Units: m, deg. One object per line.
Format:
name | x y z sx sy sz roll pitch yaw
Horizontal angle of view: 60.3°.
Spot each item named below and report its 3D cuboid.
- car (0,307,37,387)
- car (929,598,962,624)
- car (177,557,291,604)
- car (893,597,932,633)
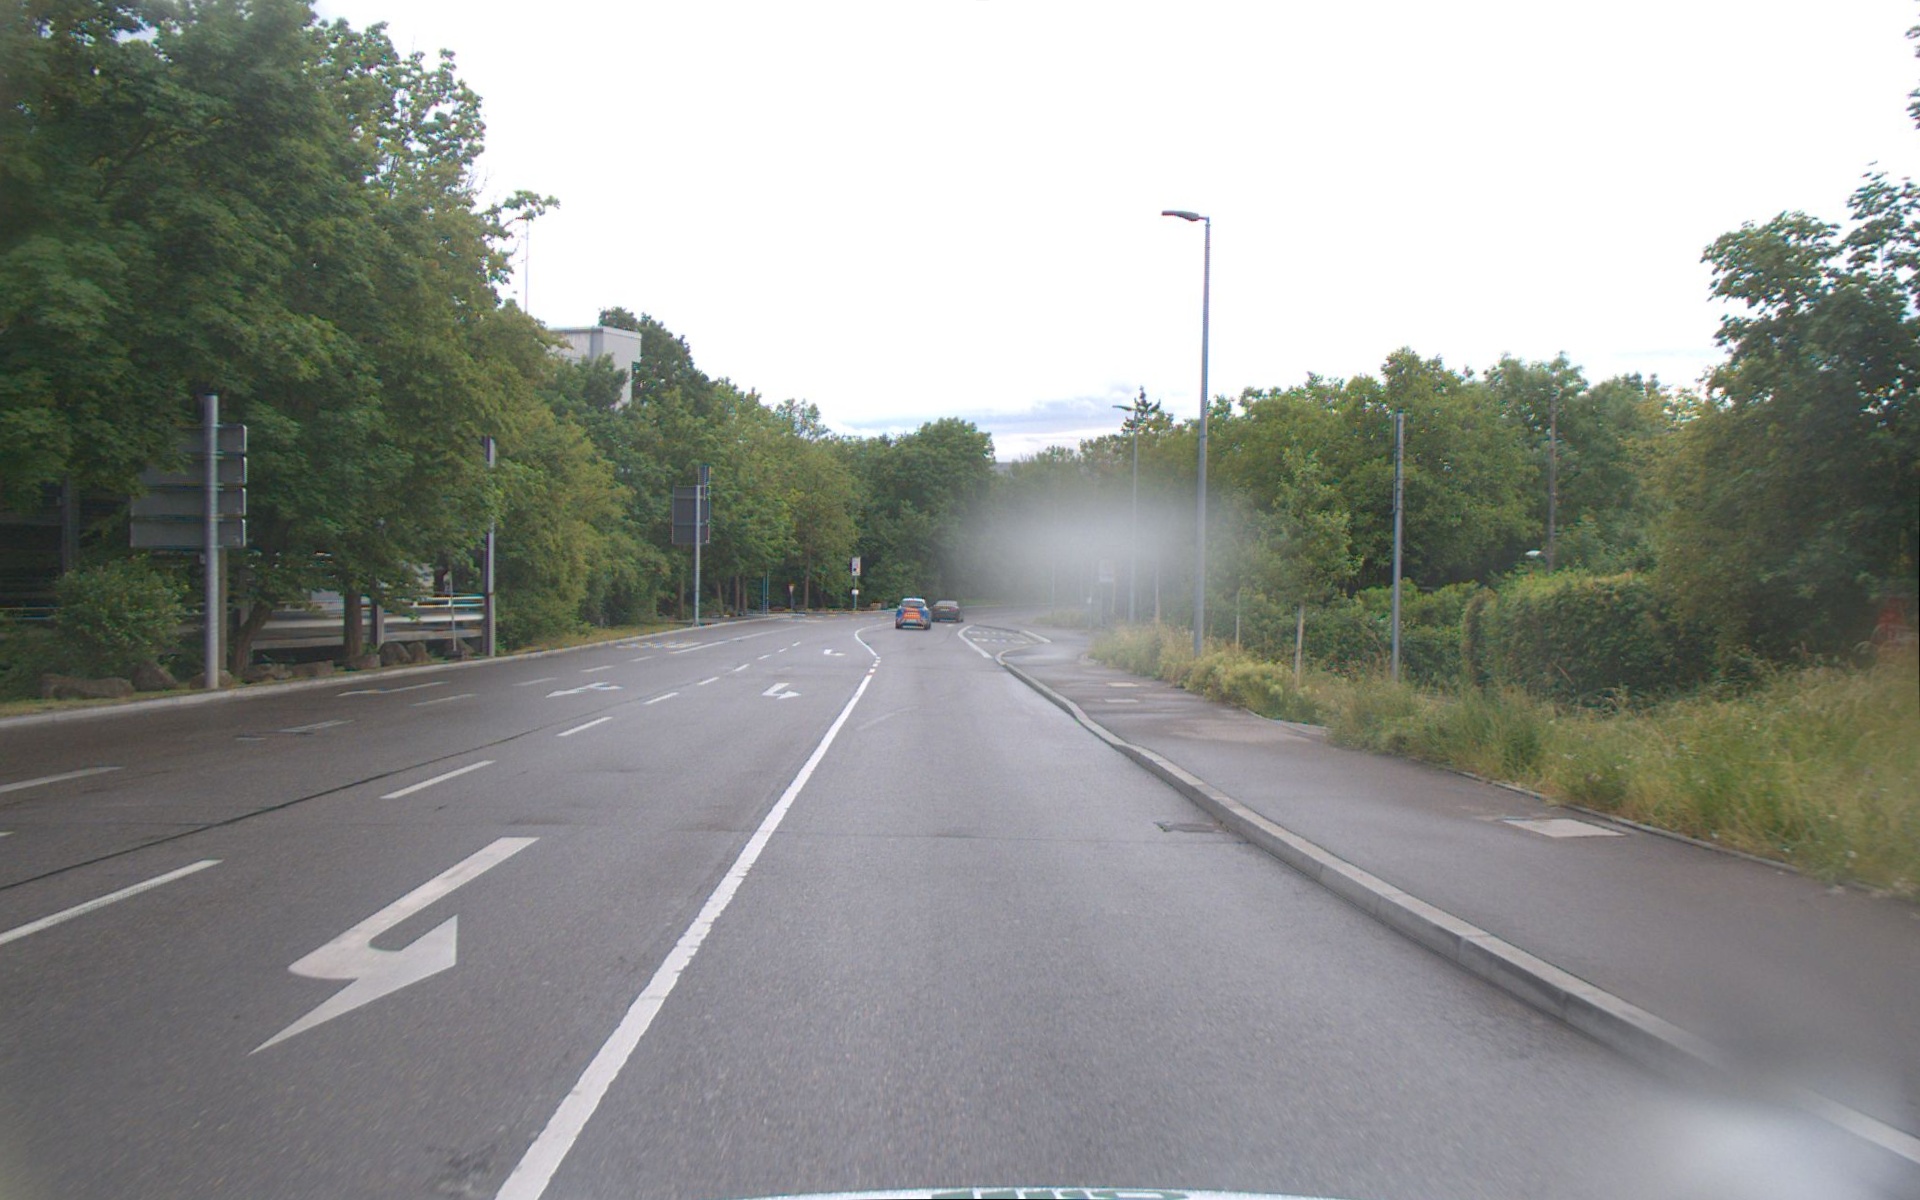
car | -21.635 -5.365 34.796 3.910 1.545 1.998 4 2 27
car | -0.891 0.710 105.869 1.887 1.512 3.801 0 2 2
car | -24.515 -0.650 55.850 3.391 1.545 1.586 1 0 20
car | -2.437 0.751 85.857 1.953 1.718 4.001 0 2 0
